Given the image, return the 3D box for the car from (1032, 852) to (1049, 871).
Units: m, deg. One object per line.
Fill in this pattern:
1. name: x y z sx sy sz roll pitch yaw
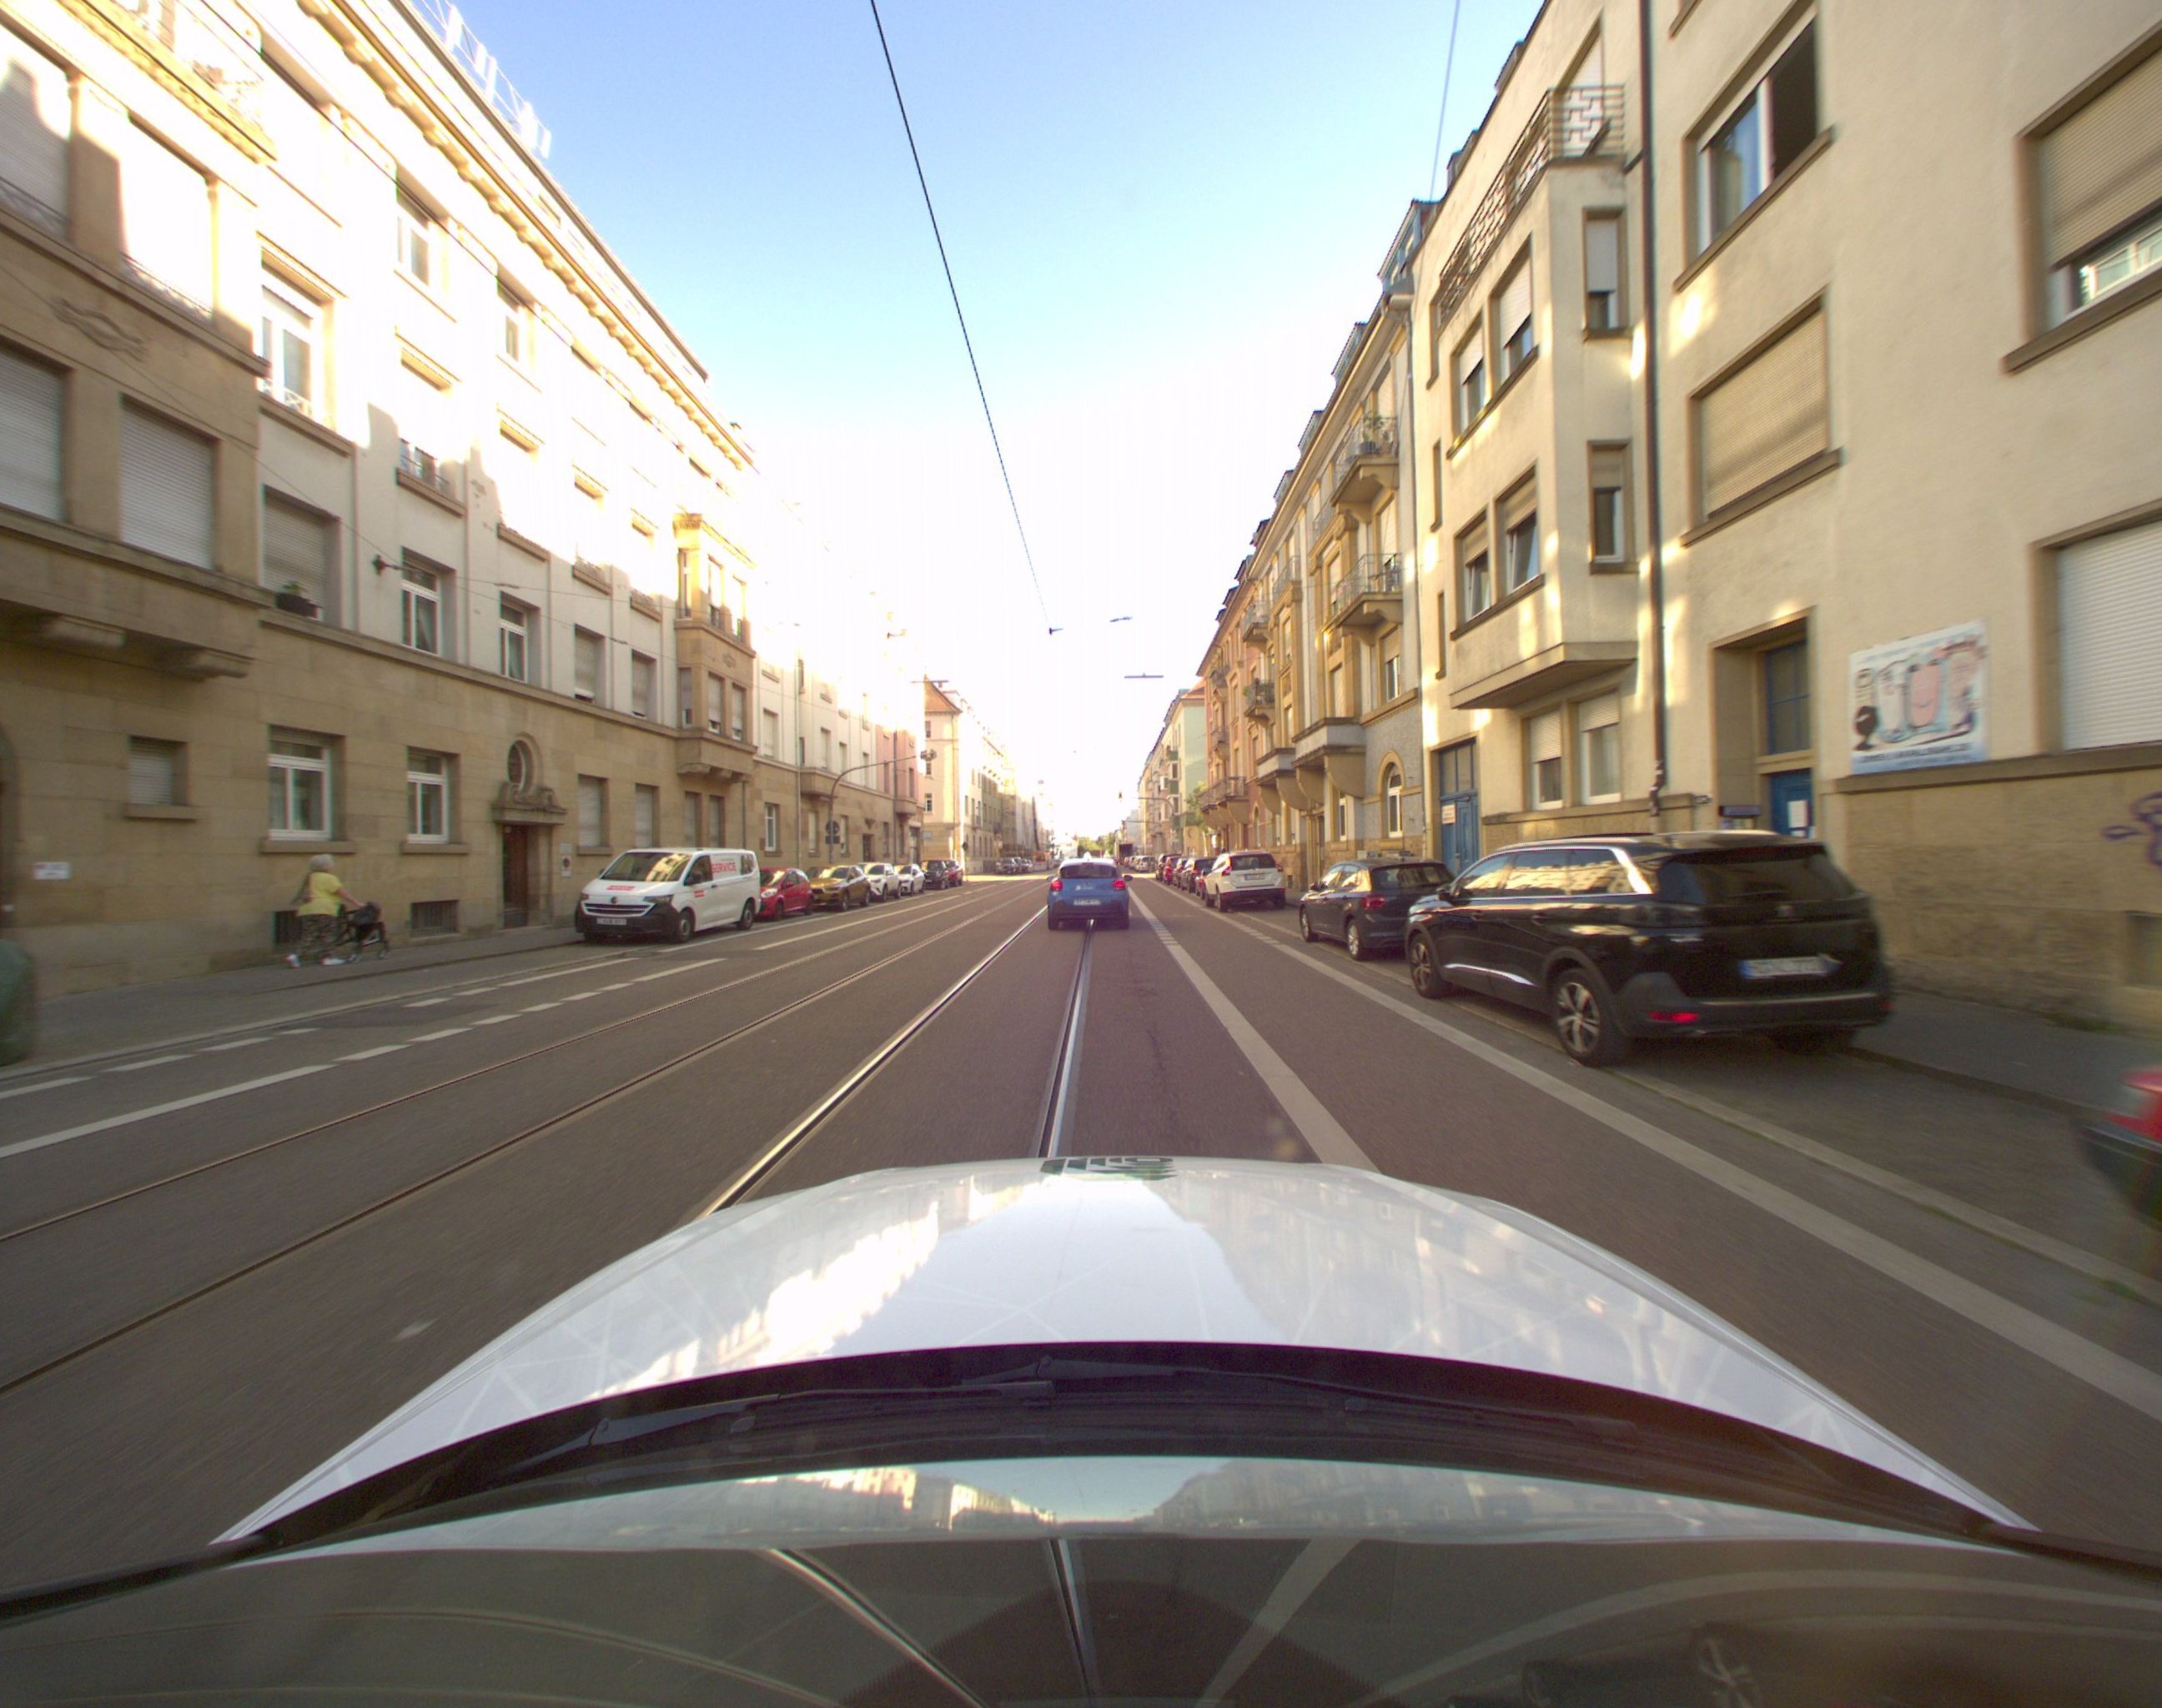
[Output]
1. car: -5.672 1.025 114.181 2.138 2.475 4.978 -1 0 0

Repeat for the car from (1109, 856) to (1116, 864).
1. car: 9.320 1.821 242.013 2.211 2.284 4.085 -2 0 2

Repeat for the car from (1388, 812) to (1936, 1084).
1. car: 4.487 0.601 7.381 1.851 1.665 4.565 -1 0 3

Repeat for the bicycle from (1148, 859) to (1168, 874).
1. bicycle: 7.085 1.143 74.750 1.716 1.154 0.469 -5 -1 1

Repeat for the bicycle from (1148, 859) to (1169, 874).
1. bicycle: 6.986 1.138 73.362 1.716 1.154 0.469 -5 -1 1

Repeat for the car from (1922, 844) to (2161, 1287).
1. car: 4.398 0.677 1.074 1.851 1.455 4.713 -1 0 3

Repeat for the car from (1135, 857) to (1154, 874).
1. car: 6.555 1.174 84.489 1.777 1.576 4.328 -2 0 2

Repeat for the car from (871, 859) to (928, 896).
1. car: -8.481 1.081 38.390 1.778 1.622 4.178 1 0 0

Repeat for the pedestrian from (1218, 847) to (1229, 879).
1. pedestrian: 7.621 0.467 43.592 0.511 1.687 0.448 -1 0 1

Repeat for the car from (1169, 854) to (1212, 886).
1. car: 5.405 0.761 40.530 1.648 1.513 4.476 -1 0 2

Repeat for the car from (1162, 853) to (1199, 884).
1. car: 5.454 0.796 45.123 1.746 1.594 3.732 -1 0 3

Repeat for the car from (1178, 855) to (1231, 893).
1. car: 5.291 0.826 35.434 1.649 1.483 4.474 -1 0 1

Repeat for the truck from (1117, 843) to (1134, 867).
1. truck: 8.147 0.172 149.761 2.841 4.083 11.278 -2 0 3

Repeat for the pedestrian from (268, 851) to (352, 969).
1. pedestrian: -11.587 0.827 12.254 0.677 1.724 0.616 -1 -1 1

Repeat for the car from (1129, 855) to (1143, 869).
1. car: 7.298 1.060 107.920 1.724 1.827 4.688 -2 0 2

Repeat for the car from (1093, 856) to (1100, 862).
1. car: 4.439 1.517 237.051 1.819 1.632 4.492 -2 0 2

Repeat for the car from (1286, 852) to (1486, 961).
1. car: 4.668 0.727 13.109 1.731 1.442 4.033 -1 0 1

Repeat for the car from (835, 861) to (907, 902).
1. car: -8.456 1.060 33.176 1.766 1.547 4.364 1 0 0

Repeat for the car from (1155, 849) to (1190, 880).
1. car: 5.773 0.650 51.606 1.746 1.735 4.508 -4 0 2

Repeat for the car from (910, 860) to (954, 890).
1. car: -8.059 1.117 44.276 1.776 1.553 3.020 1 0 1

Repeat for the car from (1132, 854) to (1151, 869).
1. car: 7.054 0.889 95.533 1.651 1.752 4.598 -1 0 -3

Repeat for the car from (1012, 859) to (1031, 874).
1. car: -6.607 1.345 90.759 1.778 1.627 4.608 1 0 0

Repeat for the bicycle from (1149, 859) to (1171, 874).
1. bicycle: 6.935 1.104 71.666 1.836 1.154 0.469 -5 -1 1

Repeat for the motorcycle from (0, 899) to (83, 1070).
1. motorcycle: -9.467 1.089 6.404 0.875 1.351 1.970 -1 0 34

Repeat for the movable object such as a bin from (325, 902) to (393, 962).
1. movable object such as a bin: -11.481 1.238 12.955 0.610 0.900 0.518 -1 0 1

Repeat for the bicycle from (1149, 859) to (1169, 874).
1. bicycle: 6.989 1.121 72.903 1.716 1.154 0.469 -5 -1 1

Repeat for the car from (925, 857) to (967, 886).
1. car: -8.031 0.999 48.740 1.778 1.606 4.396 1 0 0

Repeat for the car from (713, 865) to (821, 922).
1. car: -8.946 1.073 23.500 1.597 1.473 3.647 1 0 2

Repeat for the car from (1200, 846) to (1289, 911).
1. car: 4.686 0.675 23.972 1.836 1.691 4.506 -1 0 2

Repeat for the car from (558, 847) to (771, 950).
1. car: -8.937 0.859 18.155 1.966 1.949 5.252 1 0 1

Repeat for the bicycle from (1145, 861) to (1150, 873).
1. bicycle: 6.021 1.157 73.948 0.351 1.044 1.730 -1 0 3

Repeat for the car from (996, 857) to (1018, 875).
1. car: -7.155 1.121 79.183 1.778 1.690 4.666 1 0 0

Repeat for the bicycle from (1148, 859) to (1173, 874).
1. bicycle: 6.933 1.065 70.974 2.078 1.154 0.848 -4 0 1

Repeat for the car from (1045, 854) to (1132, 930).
1. car: 0.226 0.774 18.328 1.728 1.507 3.994 1 0 2

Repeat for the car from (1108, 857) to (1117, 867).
1. car: 5.997 1.494 155.357 1.814 1.894 4.001 0 0 2

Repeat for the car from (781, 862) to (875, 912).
1. car: -8.495 1.060 27.781 1.777 1.523 4.360 1 0 1

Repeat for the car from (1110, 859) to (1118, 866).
1. car: 7.387 1.885 183.042 1.758 1.487 4.033 -2 0 2

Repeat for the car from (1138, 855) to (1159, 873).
1. car: 6.502 0.922 78.848 1.777 1.632 4.002 -2 0 2

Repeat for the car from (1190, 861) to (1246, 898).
1. car: 5.109 0.919 30.800 1.647 1.249 4.509 -1 0 4

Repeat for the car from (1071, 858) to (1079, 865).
1. car: -1.486 1.793 198.846 1.819 1.632 4.492 -2 0 2
